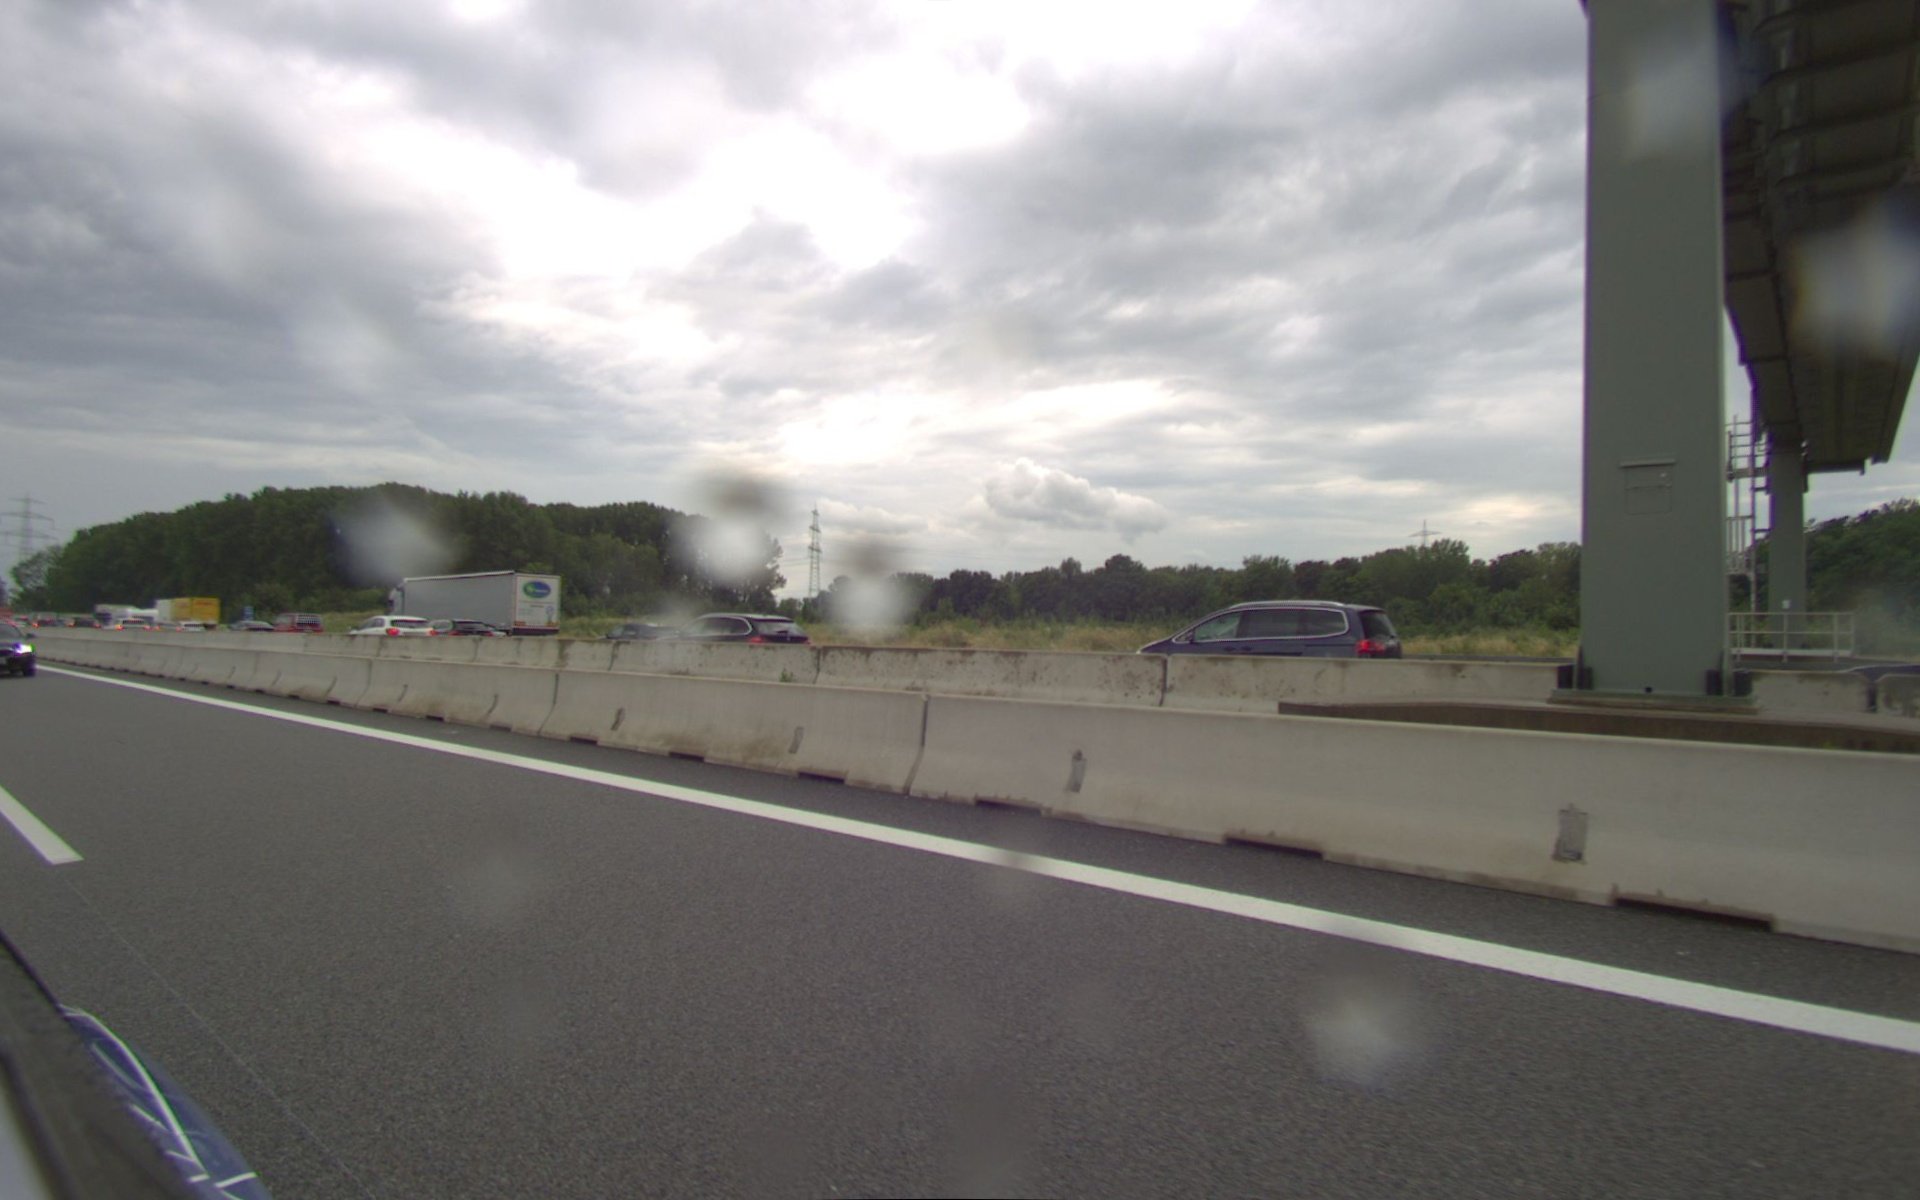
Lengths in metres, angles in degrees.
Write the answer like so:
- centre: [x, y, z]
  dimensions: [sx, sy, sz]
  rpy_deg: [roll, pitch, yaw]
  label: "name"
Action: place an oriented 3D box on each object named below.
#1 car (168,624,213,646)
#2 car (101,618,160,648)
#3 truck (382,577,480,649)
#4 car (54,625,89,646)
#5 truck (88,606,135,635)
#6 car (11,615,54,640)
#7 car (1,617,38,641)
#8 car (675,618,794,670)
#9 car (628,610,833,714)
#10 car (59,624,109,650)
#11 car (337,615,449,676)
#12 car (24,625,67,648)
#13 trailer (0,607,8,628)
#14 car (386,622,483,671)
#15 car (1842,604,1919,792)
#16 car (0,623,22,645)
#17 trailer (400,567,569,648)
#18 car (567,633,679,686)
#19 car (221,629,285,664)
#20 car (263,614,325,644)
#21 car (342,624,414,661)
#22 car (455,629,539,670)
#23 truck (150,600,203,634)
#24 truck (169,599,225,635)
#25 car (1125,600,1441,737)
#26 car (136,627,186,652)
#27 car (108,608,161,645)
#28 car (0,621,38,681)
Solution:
- centre: [-61.459, 2.782, 80.795]
  dimensions: [4.696, 1.728, 1.973]
  rpy_deg: [-2, -1, 41]
  label: "car"
- centre: [-50.784, 2.018, 61.908]
  dimensions: [4.868, 1.728, 1.973]
  rpy_deg: [-2, -1, 41]
  label: "car"
- centre: [-31.681, 0.802, 60.538]
  dimensions: [6.228, 4.088, 3.187]
  rpy_deg: [-2, -1, 41]
  label: "truck"
- centre: [-88.513, 3.530, 100.788]
  dimensions: [4.810, 2.029, 1.973]
  rpy_deg: [-2, -1, 41]
  label: "car"
- centre: [-101.565, 2.438, 121.045]
  dimensions: [9.195, 3.315, 2.880]
  rpy_deg: [-2, -1, 41]
  label: "truck"
- centre: [-78.515, 2.333, 85.656]
  dimensions: [5.753, 2.029, 1.973]
  rpy_deg: [-2, -1, 40]
  label: "car"
- centre: [-84.632, 2.609, 91.050]
  dimensions: [4.422, 2.029, 1.973]
  rpy_deg: [-2, -1, 40]
  label: "car"
- centre: [-9.274, 1.754, 41.463]
  dimensions: [4.826, 1.967, 2.405]
  rpy_deg: [-2, -1, 42]
  label: "car"
- centre: [-5.106, 1.276, 22.132]
  dimensions: [4.758, 2.029, 1.973]
  rpy_deg: [-2, -1, 41]
  label: "car"
- centre: [-61.755, 2.582, 71.319]
  dimensions: [4.670, 1.795, 1.973]
  rpy_deg: [-2, -1, 41]
  label: "car"
- centre: [-19.280, 1.507, 34.357]
  dimensions: [4.360, 1.906, 1.973]
  rpy_deg: [-2, -1, 41]
  label: "car"
- centre: [-71.618, 2.835, 79.235]
  dimensions: [3.997, 1.763, 1.973]
  rpy_deg: [-2, -1, 41]
  label: "car"
- centre: [-172.058, 3.153, 180.138]
  dimensions: [9.154, 3.791, 2.831]
  rpy_deg: [-2, -2, 40]
  label: "trailer"
- centre: [-21.806, 1.891, 41.923]
  dimensions: [4.758, 1.887, 1.973]
  rpy_deg: [-2, -1, 41]
  label: "car"
- centre: [9.919, 0.810, 8.303]
  dimensions: [3.998, 1.608, 1.711]
  rpy_deg: [-2, -1, 41]
  label: "car"
- centre: [-91.774, 3.248, 97.142]
  dimensions: [4.683, 2.029, 1.973]
  rpy_deg: [-2, -1, 40]
  label: "car"
- centre: [-26.739, 0.534, 56.276]
  dimensions: [13.799, 4.059, 3.205]
  rpy_deg: [-2, -1, 41]
  label: "trailer"
- centre: [-12.980, 2.226, 38.837]
  dimensions: [4.758, 1.887, 1.973]
  rpy_deg: [-2, -1, 41]
  label: "car"
- centre: [-40.770, 2.664, 58.325]
  dimensions: [4.758, 1.887, 1.973]
  rpy_deg: [-2, -1, 41]
  label: "car"
- centre: [-42.835, 1.857, 65.052]
  dimensions: [5.389, 1.887, 1.973]
  rpy_deg: [-2, -1, 41]
  label: "car"
- centre: [-31.494, 2.245, 54.737]
  dimensions: [4.758, 1.887, 1.973]
  rpy_deg: [-2, -1, 41]
  label: "car"
- centre: [-21.774, 2.270, 47.483]
  dimensions: [4.670, 1.795, 1.802]
  rpy_deg: [-2, -1, 41]
  label: "car"
- centre: [-87.576, 1.957, 112.994]
  dimensions: [10.307, 3.640, 2.848]
  rpy_deg: [-1, -1, 42]
  label: "truck"
- centre: [-80.631, 1.774, 106.846]
  dimensions: [9.576, 3.640, 2.848]
  rpy_deg: [-1, -1, 42]
  label: "truck"
- centre: [5.392, 1.061, 17.325]
  dimensions: [4.758, 2.029, 1.973]
  rpy_deg: [-2, -1, 41]
  label: "car"
- centre: [-57.790, 2.842, 73.162]
  dimensions: [4.696, 1.728, 1.973]
  rpy_deg: [-2, -1, 41]
  label: "car"
- centre: [-76.941, 2.430, 94.248]
  dimensions: [6.556, 3.302, 2.634]
  rpy_deg: [-2, -1, 40]
  label: "car"
- centre: [-24.664, 1.271, 25.364]
  dimensions: [3.999, 1.426, 1.898]
  rpy_deg: [-2, -2, 42]
  label: "car"
